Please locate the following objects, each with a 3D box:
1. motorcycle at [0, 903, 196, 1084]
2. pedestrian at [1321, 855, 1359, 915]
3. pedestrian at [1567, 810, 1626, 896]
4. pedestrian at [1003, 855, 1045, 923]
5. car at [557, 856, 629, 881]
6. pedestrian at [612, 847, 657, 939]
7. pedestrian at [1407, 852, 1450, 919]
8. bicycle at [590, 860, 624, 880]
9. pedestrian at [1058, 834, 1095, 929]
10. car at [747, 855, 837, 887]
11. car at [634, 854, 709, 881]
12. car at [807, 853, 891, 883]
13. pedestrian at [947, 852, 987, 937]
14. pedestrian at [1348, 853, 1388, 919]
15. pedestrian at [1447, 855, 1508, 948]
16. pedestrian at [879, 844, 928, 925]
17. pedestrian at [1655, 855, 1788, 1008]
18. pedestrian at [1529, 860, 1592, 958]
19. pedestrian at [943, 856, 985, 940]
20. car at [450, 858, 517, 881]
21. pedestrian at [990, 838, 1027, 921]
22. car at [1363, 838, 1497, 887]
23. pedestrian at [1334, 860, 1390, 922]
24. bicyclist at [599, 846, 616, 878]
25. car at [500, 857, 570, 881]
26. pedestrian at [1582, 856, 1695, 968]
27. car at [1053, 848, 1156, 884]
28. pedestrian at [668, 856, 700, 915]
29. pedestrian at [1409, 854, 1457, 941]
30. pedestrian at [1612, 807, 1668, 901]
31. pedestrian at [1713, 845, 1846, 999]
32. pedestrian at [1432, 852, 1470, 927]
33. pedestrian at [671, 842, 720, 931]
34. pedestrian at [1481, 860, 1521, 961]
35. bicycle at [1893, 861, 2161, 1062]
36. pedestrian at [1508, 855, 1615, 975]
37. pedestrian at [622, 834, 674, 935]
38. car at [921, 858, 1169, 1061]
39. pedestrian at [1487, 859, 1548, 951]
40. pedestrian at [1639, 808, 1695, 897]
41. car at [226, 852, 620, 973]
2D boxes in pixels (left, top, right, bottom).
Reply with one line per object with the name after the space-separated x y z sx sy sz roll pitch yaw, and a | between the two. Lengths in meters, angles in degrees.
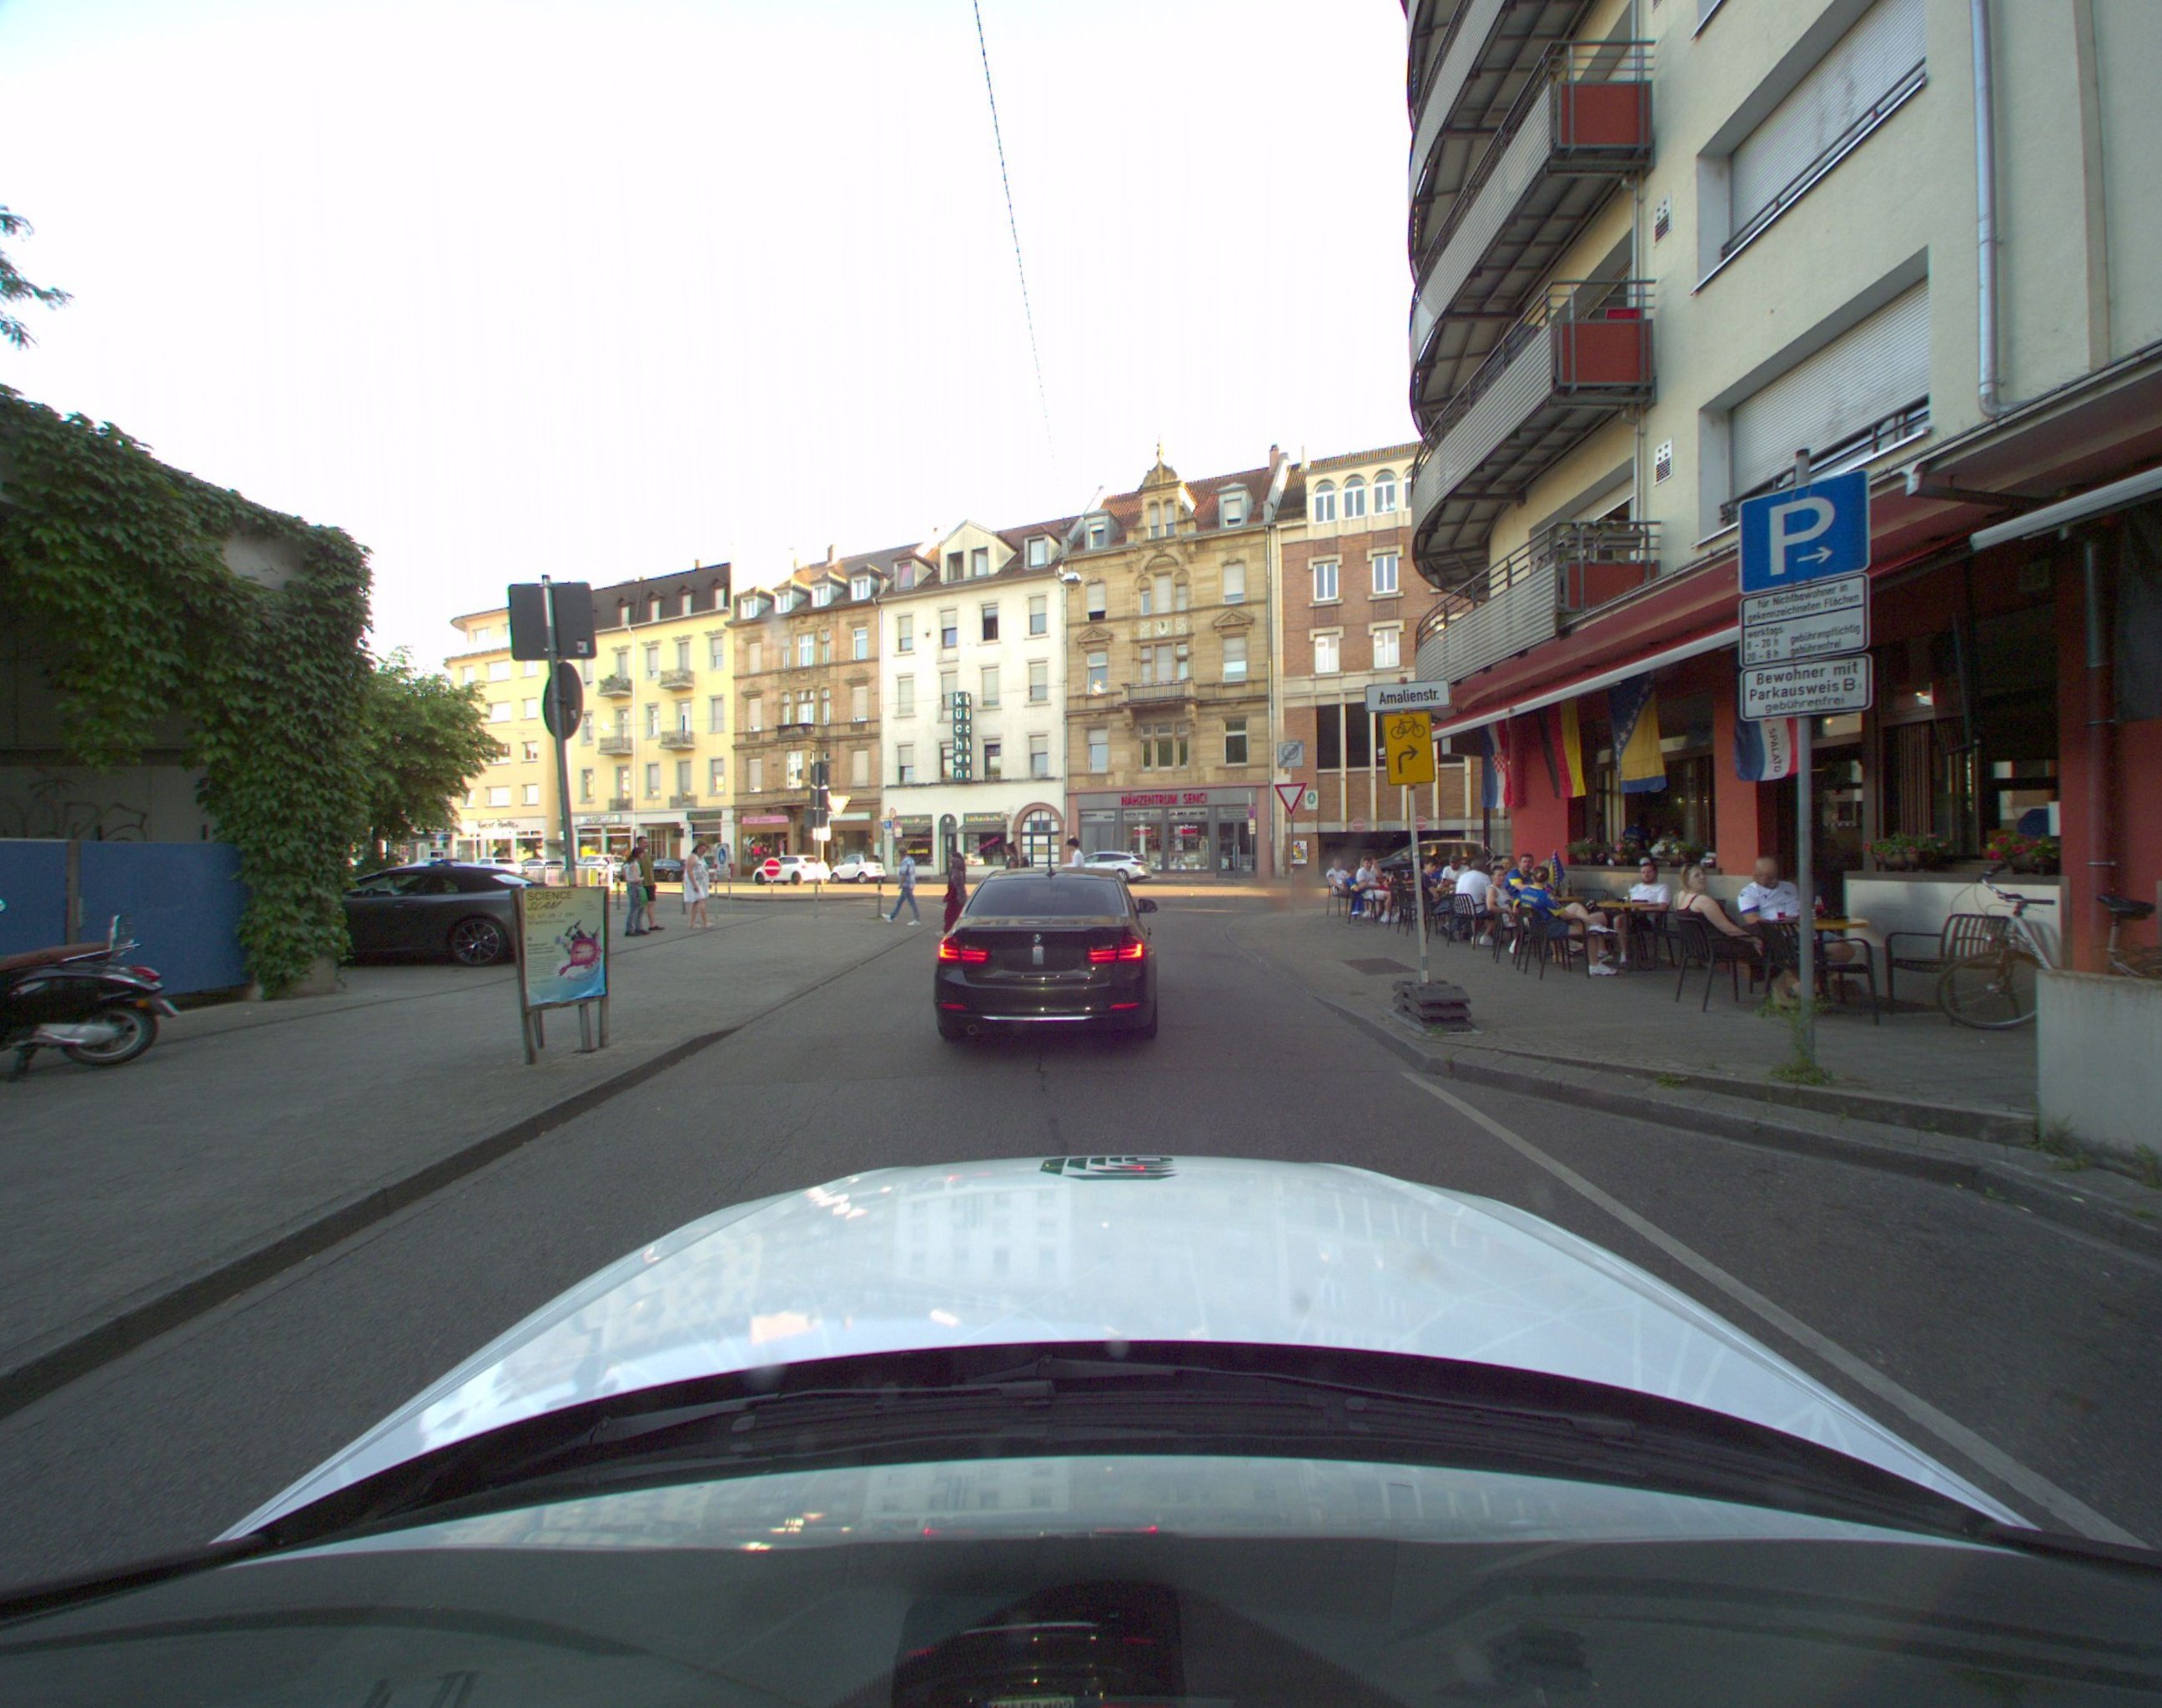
-7.155 0.908 5.318 1.758 1.101 0.561 1 0 -35 | motorcycle
5.540 0.647 17.437 0.614 1.254 0.736 -1 0 6 | pedestrian
9.878 -0.014 15.621 0.717 1.607 0.682 1 0 -27 | pedestrian
-1.266 0.773 18.164 0.812 1.474 0.607 -1 0 4 | pedestrian
-30.103 0.885 50.226 3.952 1.510 1.810 -1 -1 22 | car
-8.208 0.703 14.992 0.498 1.643 0.521 -1 0 2 | pedestrian
6.811 0.604 15.960 0.611 1.279 0.705 -1 0 37 | pedestrian
-26.338 0.878 45.270 1.781 1.107 0.540 0 0 14 | bicycle
-0.084 0.536 16.364 0.695 1.877 0.679 0 0 4 | pedestrian
-14.103 0.805 39.707 3.950 1.473 1.895 -1 0 26 | car
-24.342 0.818 48.397 3.952 1.510 1.810 -1 -1 22 | car
-12.339 0.759 43.304 3.952 1.510 1.810 -1 -1 22 | car
-2.218 0.766 15.785 0.724 1.609 0.648 1 0 -9 | pedestrian
5.703 0.627 16.224 0.613 1.284 0.661 -1 0 8 | pedestrian
5.809 0.682 11.924 0.631 1.276 0.505 -3 0 -38 | pedestrian
-3.881 0.646 17.816 0.891 1.725 0.609 1 2 6 | pedestrian
5.659 0.668 7.234 0.683 1.286 0.610 -2 -1 9 | pedestrian
6.156 0.692 10.455 0.421 1.201 0.531 -3 0 -43 | pedestrian
-2.170 0.803 15.079 0.735 1.513 0.648 1 0 -9 | pedestrian
-40.445 1.047 55.144 3.952 1.510 1.810 -1 -1 22 | car
-1.554 0.530 17.518 0.664 1.746 0.607 -1 0 6 | pedestrian
12.101 0.305 28.529 4.148 1.625 1.808 -1 -1 18 | car
5.370 0.704 15.598 0.885 1.149 0.620 -1 0 7 | pedestrian
-26.345 0.437 45.278 0.613 1.756 0.527 0 0 14 | bicyclist
-35.205 0.966 52.542 3.952 1.510 1.810 -1 -1 22 | car
6.548 0.660 9.606 0.776 1.223 0.714 -4 0 0 | pedestrian
1.093 0.545 37.581 4.313 1.562 1.878 -1 -1 22 | car
-9.820 0.768 20.134 0.530 1.409 0.473 0 0 30 | pedestrian
5.475 0.672 12.677 0.489 1.303 0.418 -4 0 0 | pedestrian
9.834 -0.005 14.332 0.533 1.607 0.605 1 0 -22 | pedestrian
6.484 0.603 7.591 0.605 1.348 0.696 -2 0 -1 | pedestrian
6.436 0.607 14.190 0.486 1.276 0.523 -1 0 13 | pedestrian
-7.736 0.631 16.347 0.666 1.746 0.661 -1 0 44 | pedestrian
5.367 0.713 10.415 0.340 1.257 0.362 -4 0 20 | pedestrian
6.492 0.640 5.300 0.534 1.154 1.740 -2 -2 -4 | bicycle
5.399 0.668 9.175 0.856 1.257 0.491 -4 0 -1 | pedestrian
-8.316 0.573 15.656 0.580 1.882 0.634 -1 0 5 | pedestrian
-0.235 0.760 8.171 1.759 1.375 4.790 0 0 0 | car
5.978 0.692 11.154 0.421 1.201 0.562 -3 0 -42 | pedestrian
10.863 -0.029 15.095 0.692 1.607 0.707 1 0 -42 | pedestrian
-9.260 0.755 11.828 3.985 1.501 1.886 -1 0 -9 | car
